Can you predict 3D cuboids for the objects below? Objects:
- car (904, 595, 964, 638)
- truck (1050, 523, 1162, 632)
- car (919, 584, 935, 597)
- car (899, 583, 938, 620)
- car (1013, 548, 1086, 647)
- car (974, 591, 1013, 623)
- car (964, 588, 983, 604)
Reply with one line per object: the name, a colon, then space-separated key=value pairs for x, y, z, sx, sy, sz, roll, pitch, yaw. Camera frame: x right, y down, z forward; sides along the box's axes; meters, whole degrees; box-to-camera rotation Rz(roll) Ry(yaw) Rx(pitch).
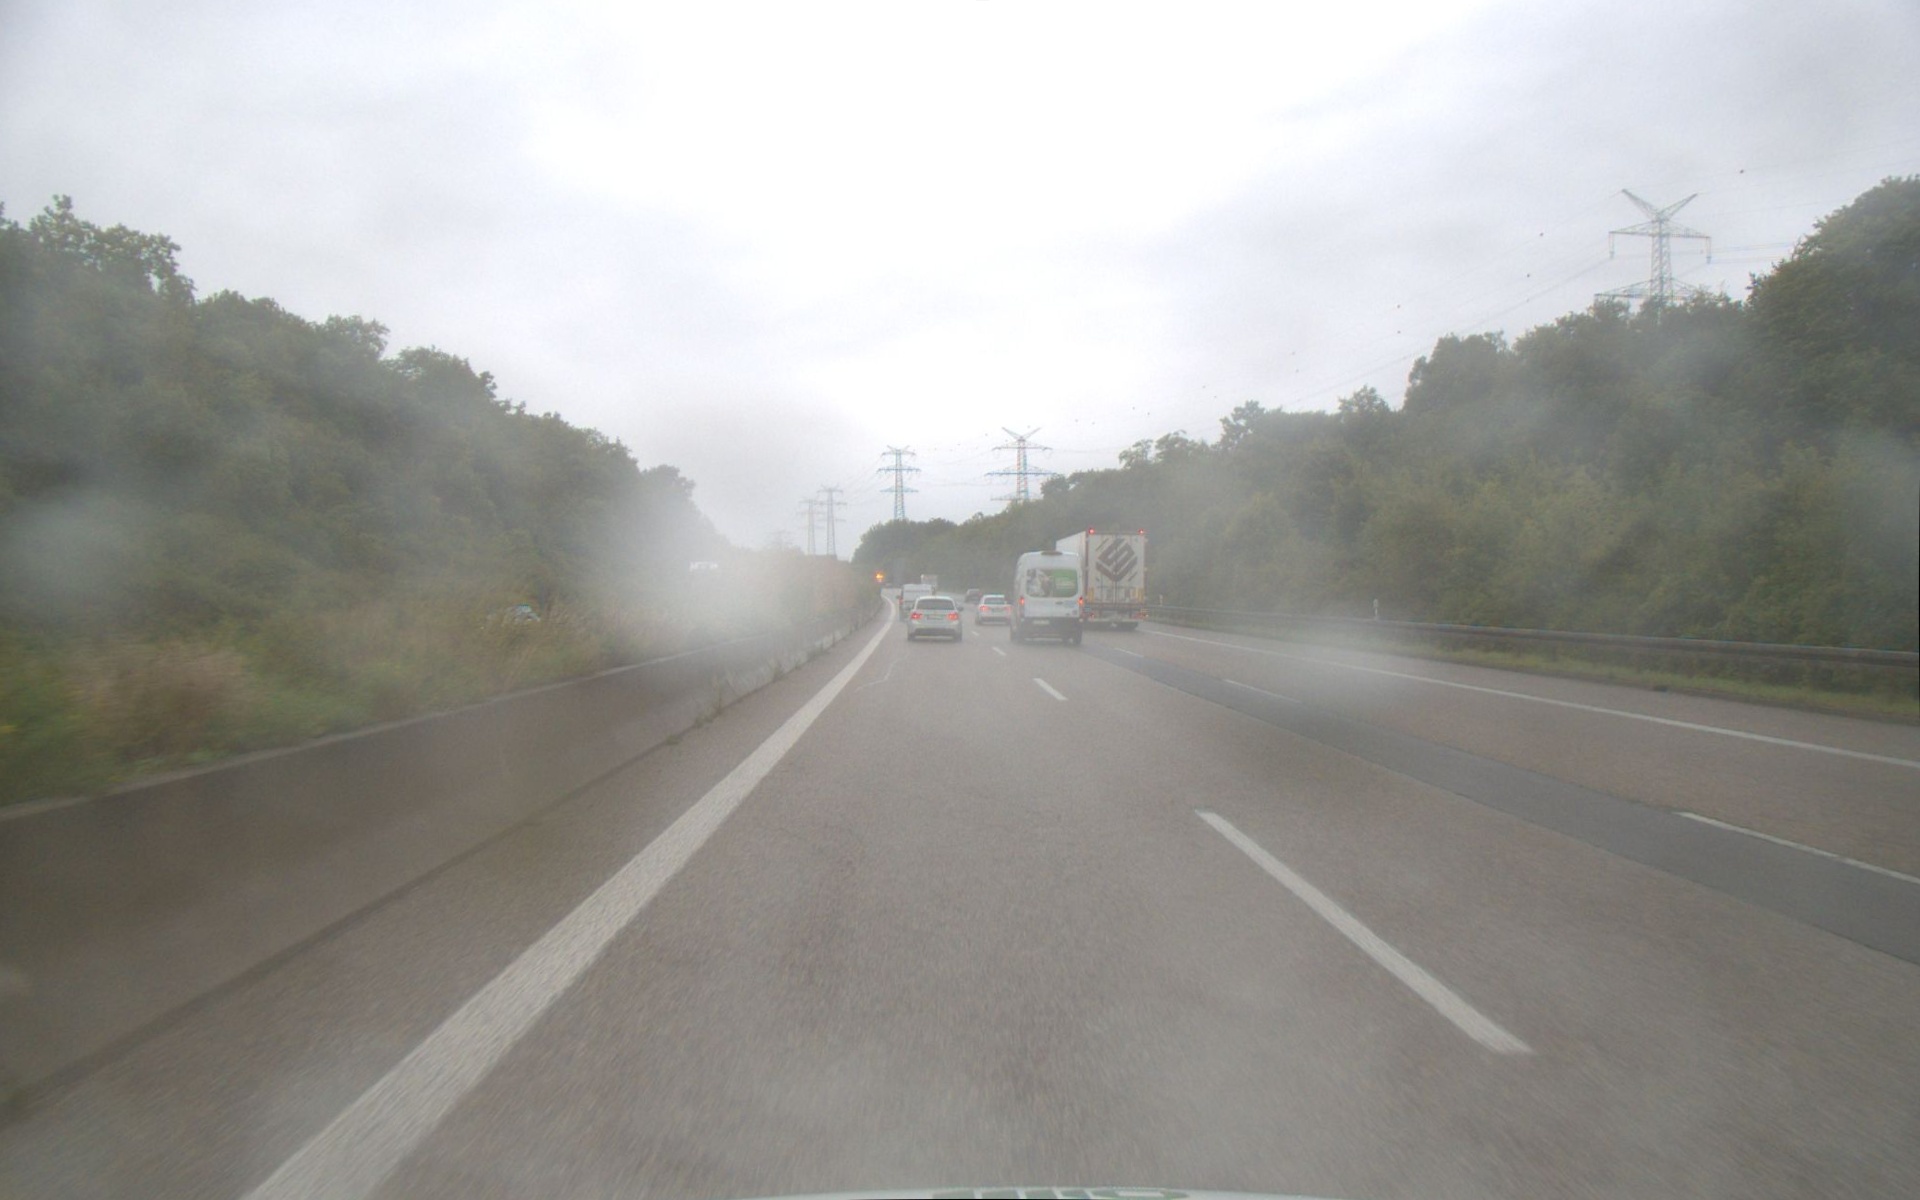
car: x=-0.808 y=0.498 z=53.471 sx=1.828 sy=1.310 sz=4.000 roll=-1 pitch=0 yaw=1
truck: x=6.278 y=-0.917 z=73.673 sx=3.530 sy=4.408 sz=13.196 roll=0 pitch=0 yaw=-1
car: x=-4.419 y=-1.280 z=219.240 sx=1.952 sy=1.601 sz=4.000 roll=-1 pitch=-1 yaw=0
car: x=-2.101 y=0.063 z=84.871 sx=1.808 sy=1.803 sz=4.000 roll=-1 pitch=0 yaw=1
car: x=2.723 y=-0.083 z=51.258 sx=1.953 sy=2.914 sz=3.999 roll=-1 pitch=0 yaw=-1
car: x=1.619 y=0.320 z=78.642 sx=1.818 sy=1.447 sz=4.001 roll=0 pitch=0 yaw=1
car: x=1.427 y=-0.418 z=178.095 sx=1.953 sy=1.512 sz=4.000 roll=-3 pitch=0 yaw=0
